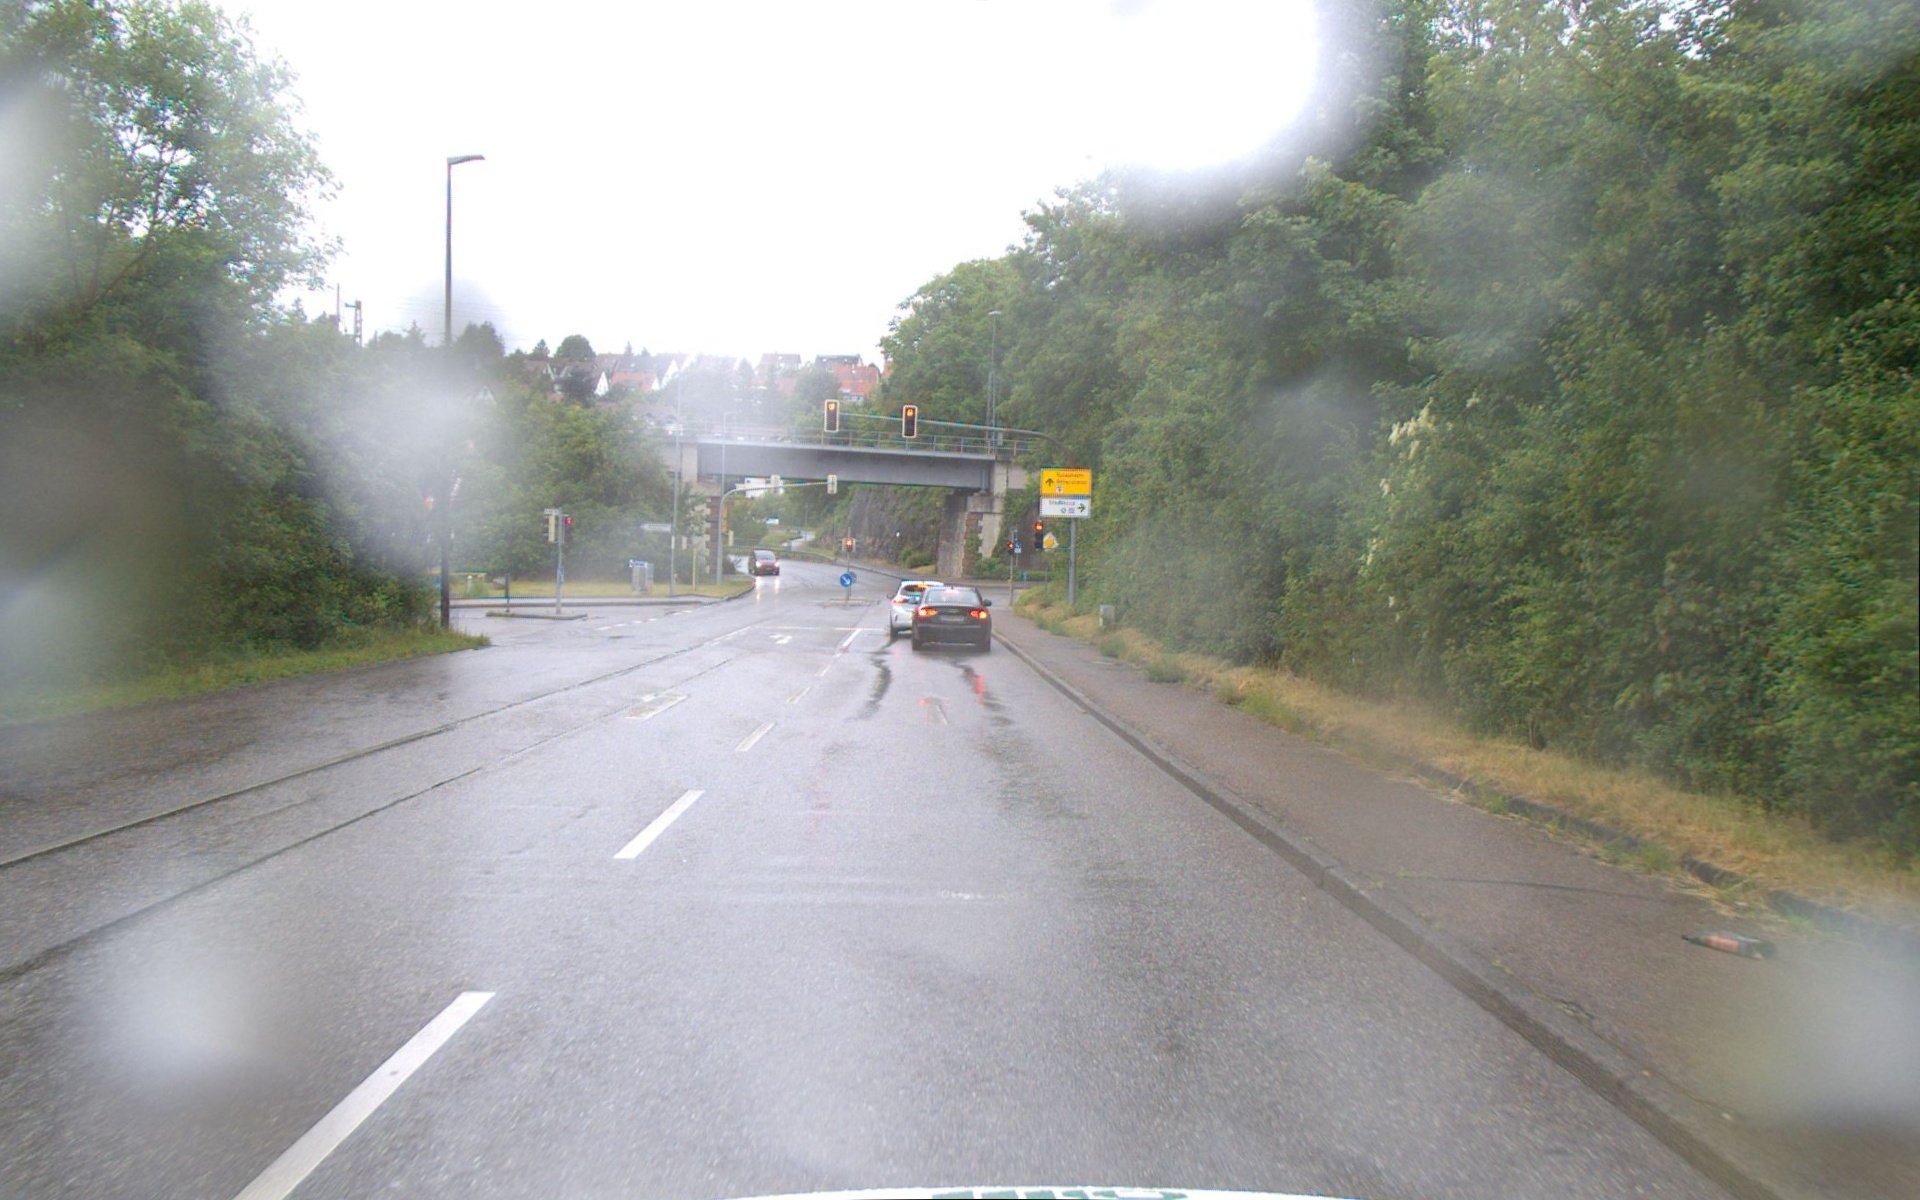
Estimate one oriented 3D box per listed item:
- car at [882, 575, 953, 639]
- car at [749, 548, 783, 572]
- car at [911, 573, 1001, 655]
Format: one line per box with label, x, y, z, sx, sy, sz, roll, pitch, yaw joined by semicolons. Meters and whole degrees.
car;-1.132;0.176;44.198;1.786;1.613;3.999;1;0;-2
car;-14.373;-2.937;122.275;1.960;1.657;3.985;0;0;-14
car;-0.108;0.281;37.169;1.832;1.644;3.999;3;1;-1
